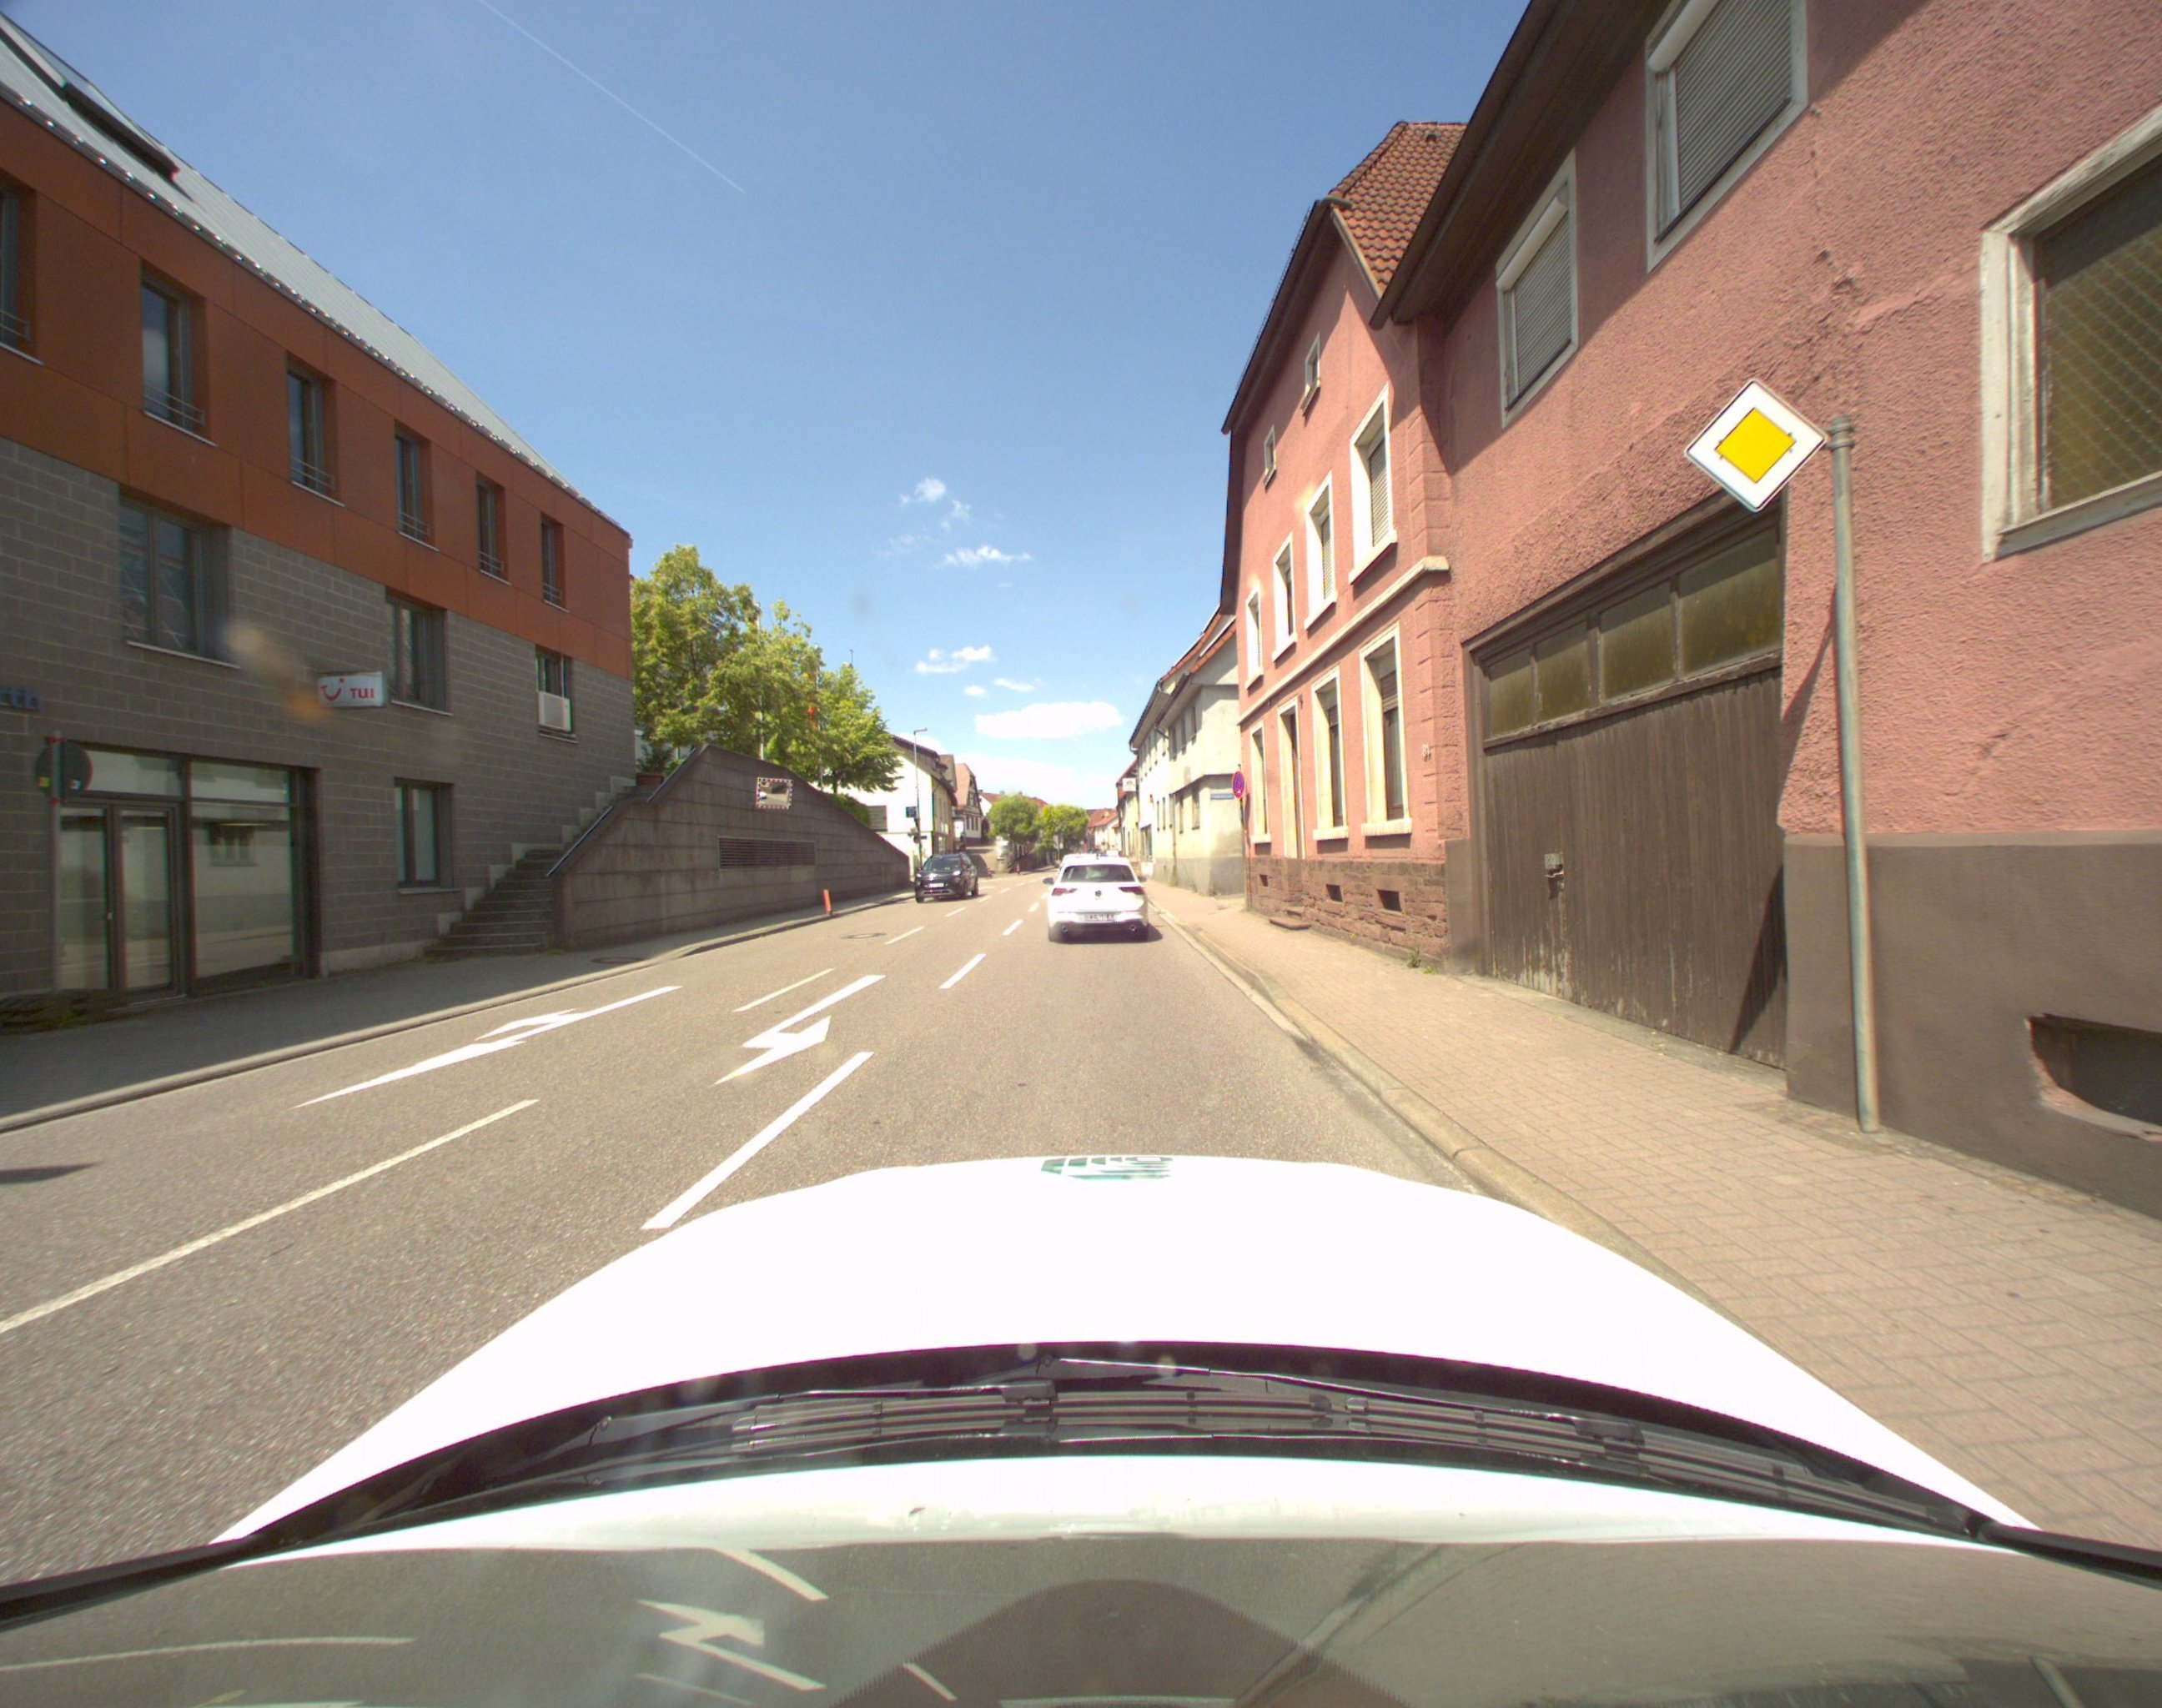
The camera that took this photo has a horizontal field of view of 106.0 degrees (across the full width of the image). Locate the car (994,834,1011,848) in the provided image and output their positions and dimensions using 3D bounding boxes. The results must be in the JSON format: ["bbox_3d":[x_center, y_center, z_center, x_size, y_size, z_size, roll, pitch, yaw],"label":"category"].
[{"bbox_3d":[-8.999,-1.529,93.966,1.572,1.361,3.857,-1,6,0],"label":"car"}]

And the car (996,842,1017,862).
[{"bbox_3d":[-7.421,-0.235,81.241,1.688,1.542,3.857,-1,6,0],"label":"car"}]

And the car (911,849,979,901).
[{"bbox_3d":[-4.773,0.707,29.083,1.664,1.657,4.017,-2,0,0],"label":"car"}]

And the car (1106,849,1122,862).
[{"bbox_3d":[4.468,0.165,110.133,1.765,1.765,4.009,-1,0,8],"label":"car"}]

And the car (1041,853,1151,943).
[{"bbox_3d":[0.408,0.728,15.385,1.799,1.467,4.005,0,0,5],"label":"car"}]

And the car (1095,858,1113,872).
[{"bbox_3d":[2.674,1.248,94.639,1.766,1.538,4.007,-1,0,6],"label":"car"}]

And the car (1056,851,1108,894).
[{"bbox_3d":[-0.013,0.649,30.256,1.803,1.467,3.997,0,0,-1],"label":"car"}]

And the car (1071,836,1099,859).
[{"bbox_3d":[0.297,-0.409,54.675,1.802,1.467,3.999,0,0,0],"label":"car"}]
